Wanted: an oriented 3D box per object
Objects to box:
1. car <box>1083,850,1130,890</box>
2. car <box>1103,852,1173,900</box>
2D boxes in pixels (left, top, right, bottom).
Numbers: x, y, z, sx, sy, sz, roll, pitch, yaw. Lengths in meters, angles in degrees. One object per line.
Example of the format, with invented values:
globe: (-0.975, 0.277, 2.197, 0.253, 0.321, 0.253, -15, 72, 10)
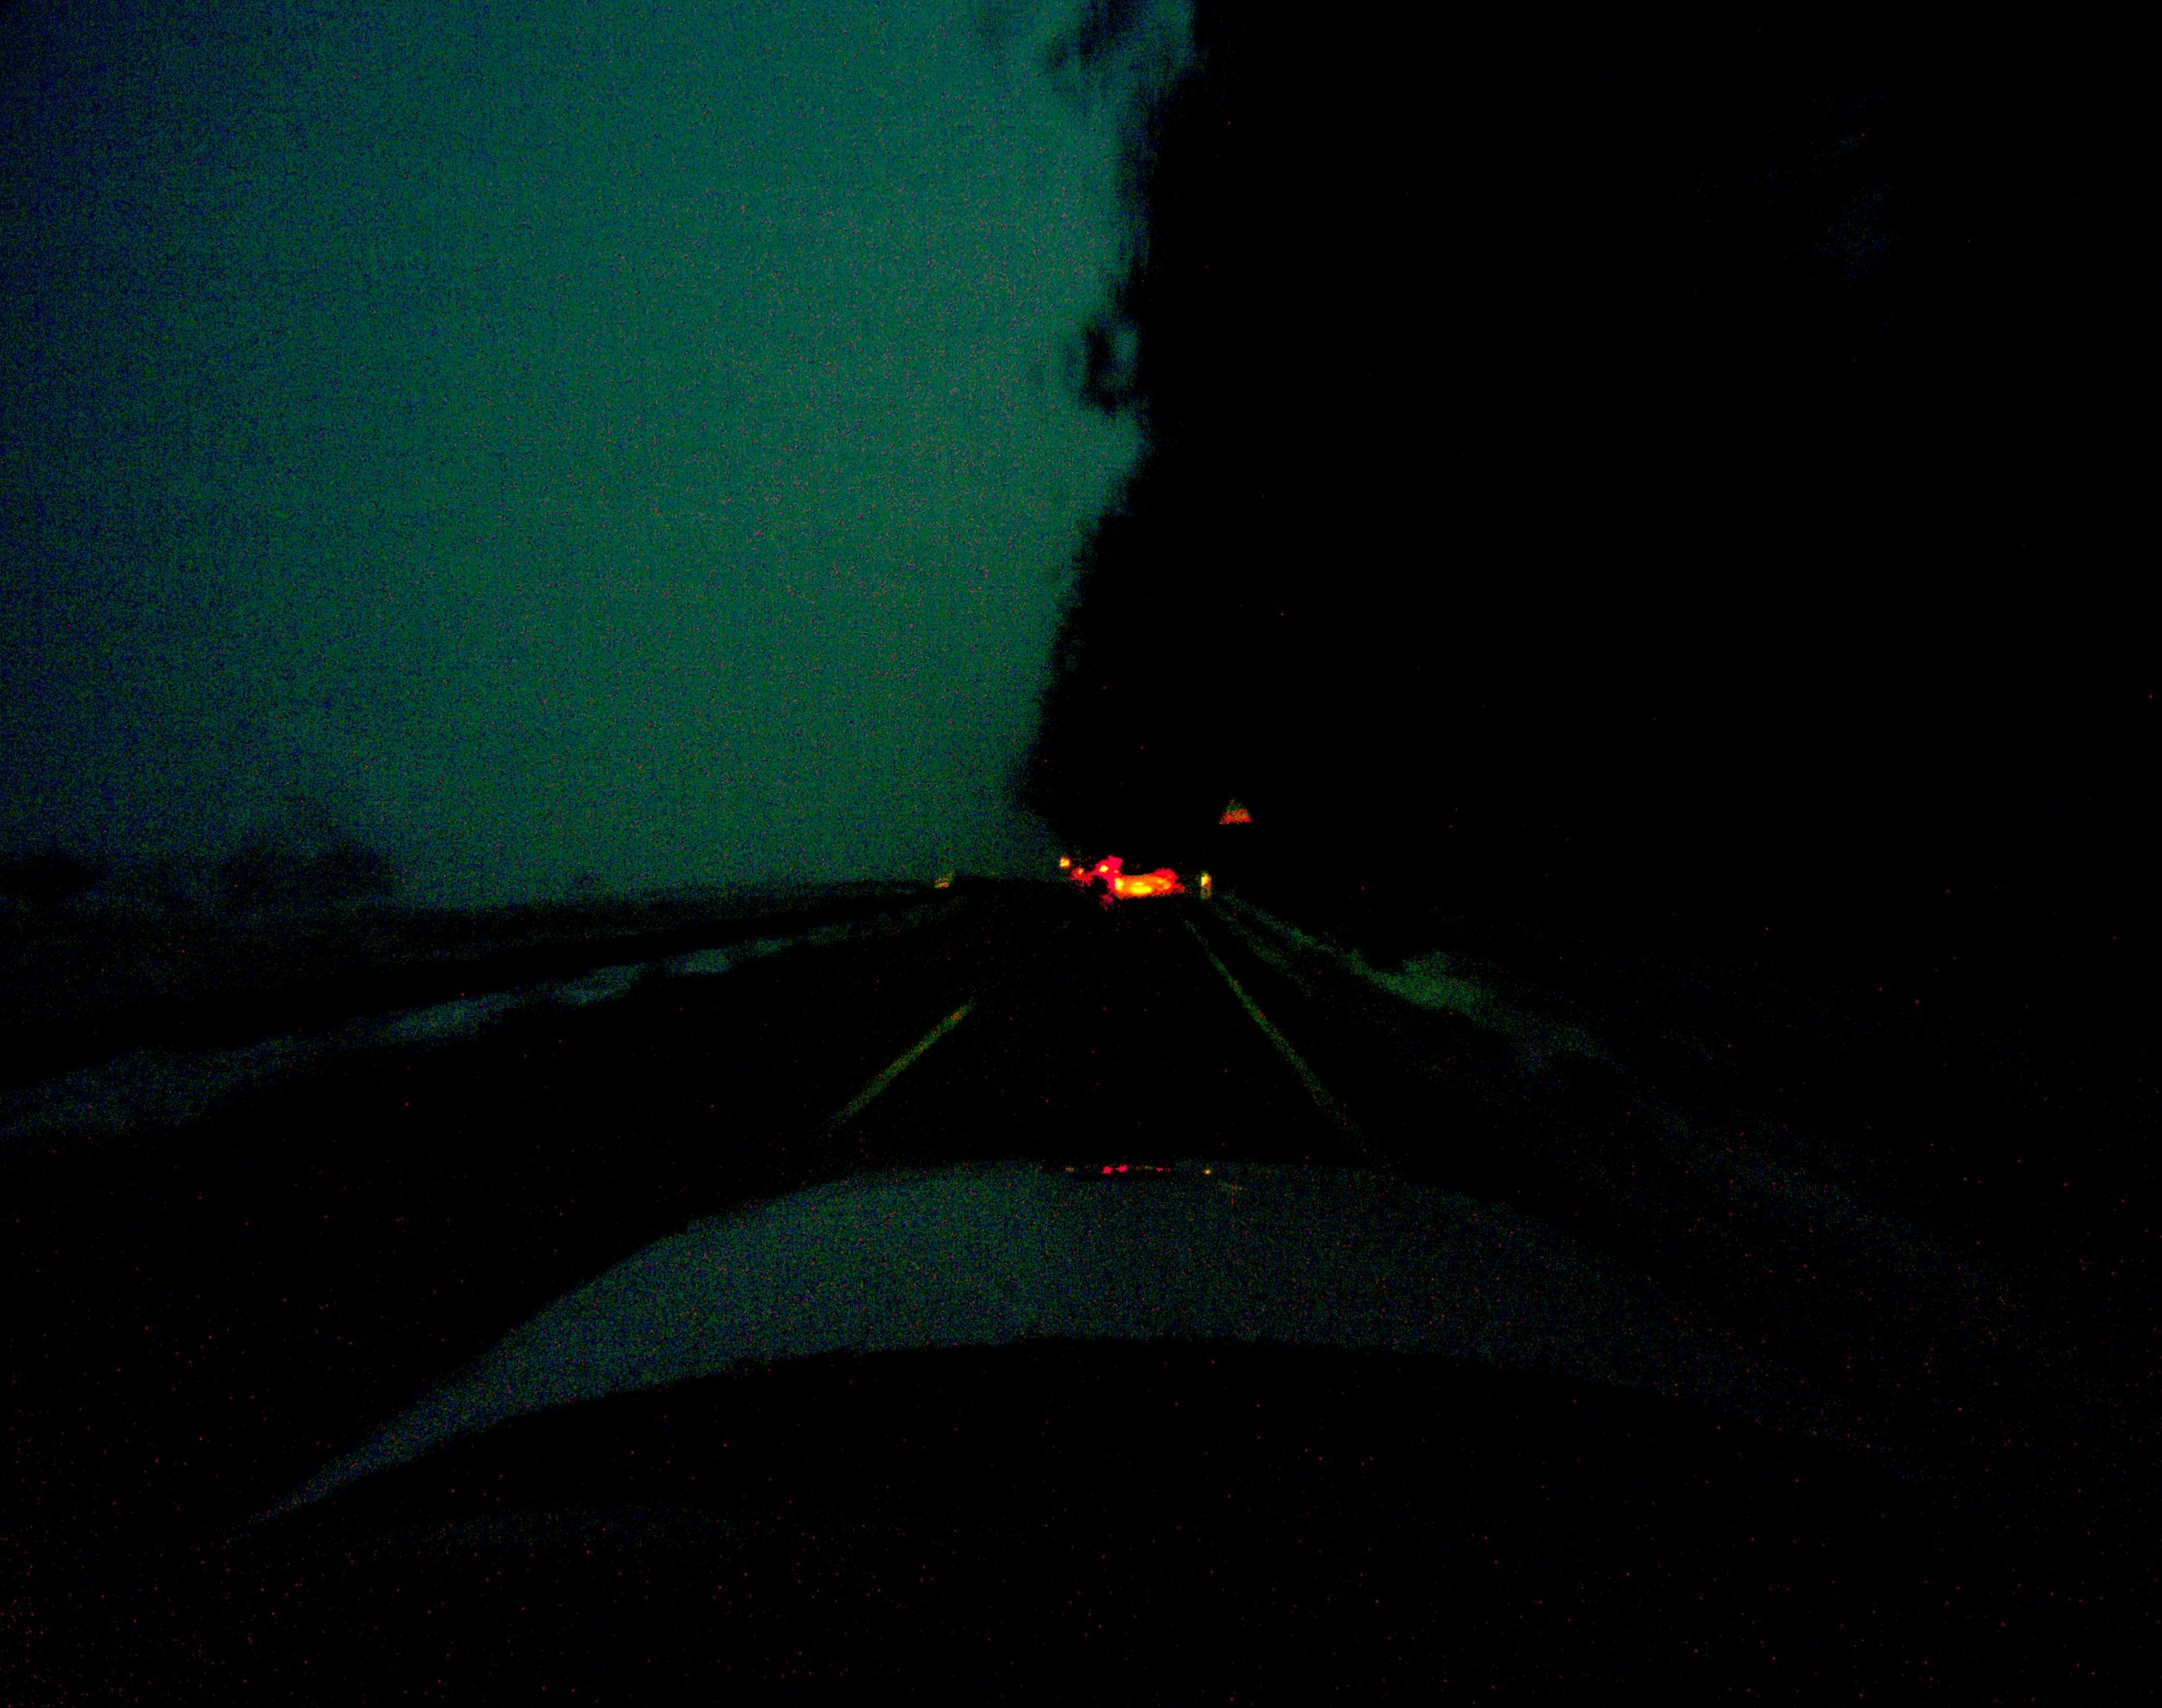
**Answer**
car: (1.135, 0.713, 38.049, 1.988, 1.783, 3.998, 0, 0, -1)
car: (1.727, 0.671, 25.941, 1.939, 1.381, 4.000, 1, -1, 0)
